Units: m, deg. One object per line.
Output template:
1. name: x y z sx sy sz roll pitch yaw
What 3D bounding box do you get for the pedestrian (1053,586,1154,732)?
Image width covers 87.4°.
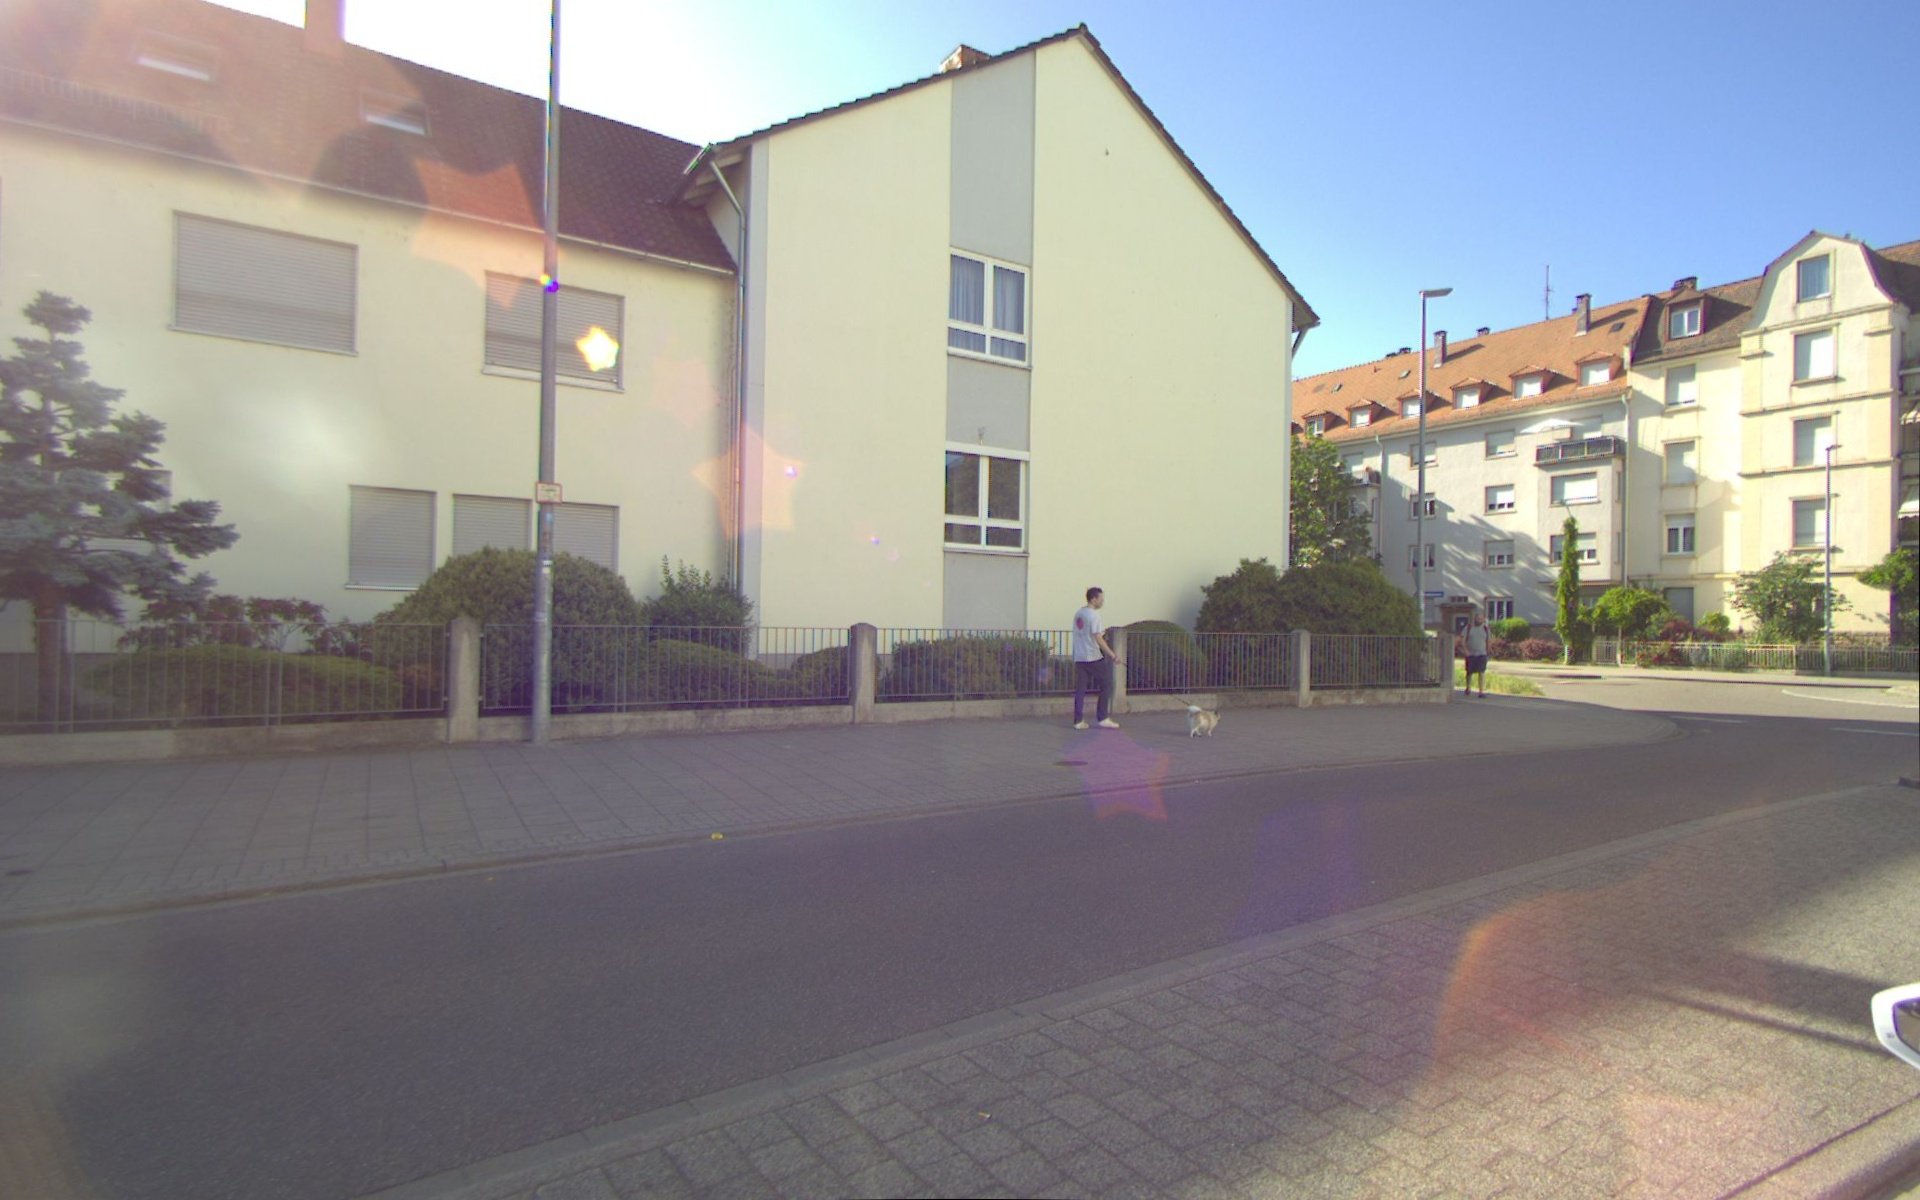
1. pedestrian: 1.769 0.710 12.426 0.985 1.728 0.687 2 0 -30

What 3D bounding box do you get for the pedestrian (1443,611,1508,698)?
1. pedestrian: 10.683 1.109 20.862 0.803 1.728 0.997 2 0 1
